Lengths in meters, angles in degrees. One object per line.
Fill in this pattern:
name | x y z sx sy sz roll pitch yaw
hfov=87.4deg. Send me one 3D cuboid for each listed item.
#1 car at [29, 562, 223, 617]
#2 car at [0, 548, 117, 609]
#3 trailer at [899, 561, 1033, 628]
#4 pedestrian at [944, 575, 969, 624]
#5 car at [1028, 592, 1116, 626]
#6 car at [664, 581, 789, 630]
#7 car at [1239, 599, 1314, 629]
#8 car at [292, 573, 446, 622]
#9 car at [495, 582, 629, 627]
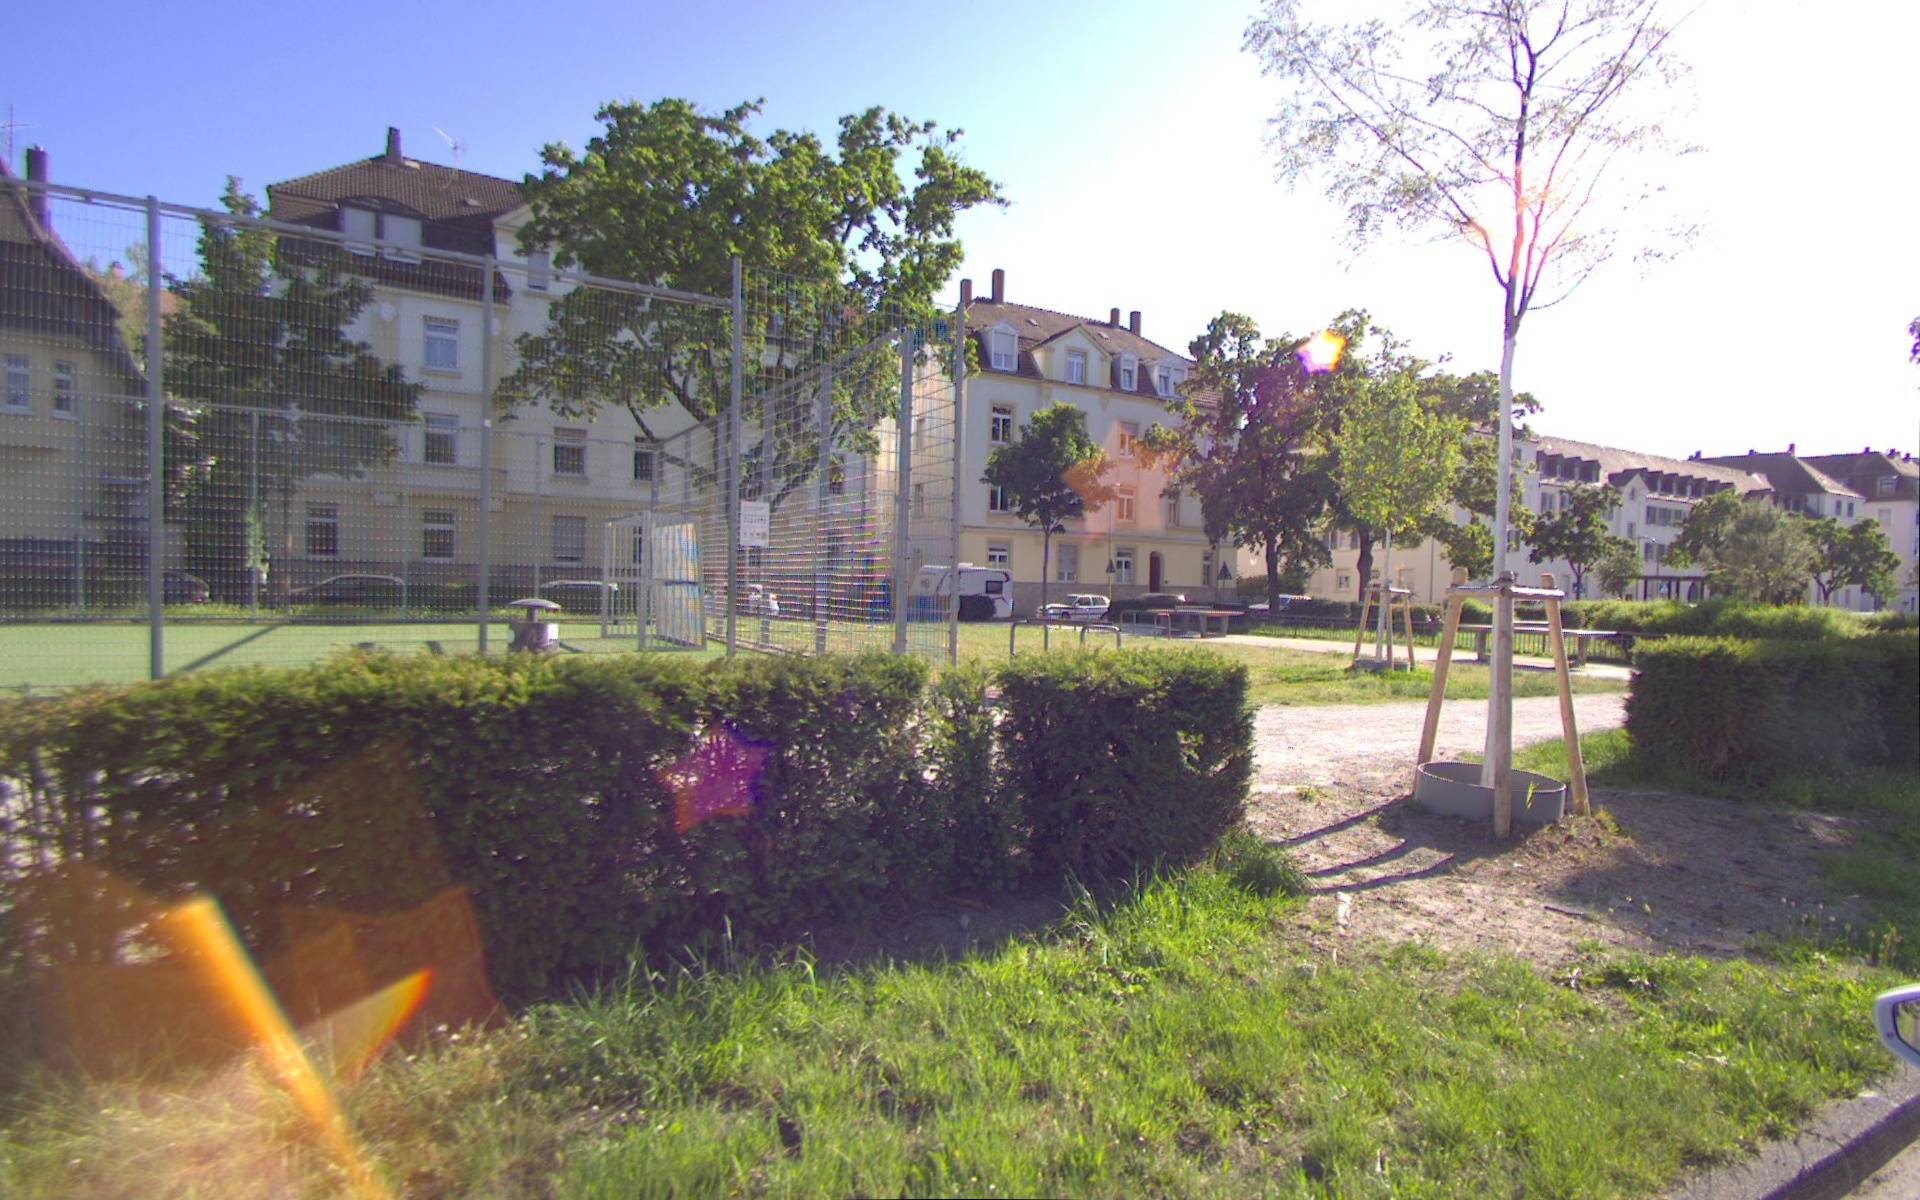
car | -24.811 -0.296 30.090 4.182 1.530 1.785 1 1 -31
car | -24.626 -0.573 26.062 3.953 1.530 1.785 1 1 -31
trailer | 0.299 -0.234 45.765 5.737 2.909 2.331 1 1 -31
pedestrian | -0.127 -0.009 35.188 0.642 1.683 0.645 1 0 -30
car | 5.456 0.439 48.922 3.953 1.530 1.785 1 1 -30
car | -9.173 0.212 39.548 4.436 1.801 1.785 1 1 -31
car | 17.720 0.796 56.226 3.953 1.530 1.785 1 1 -30
car | -19.524 -0.066 33.349 4.296 1.530 1.785 1 1 -31
car | -14.450 0.184 36.510 4.296 1.530 1.785 1 1 -31
